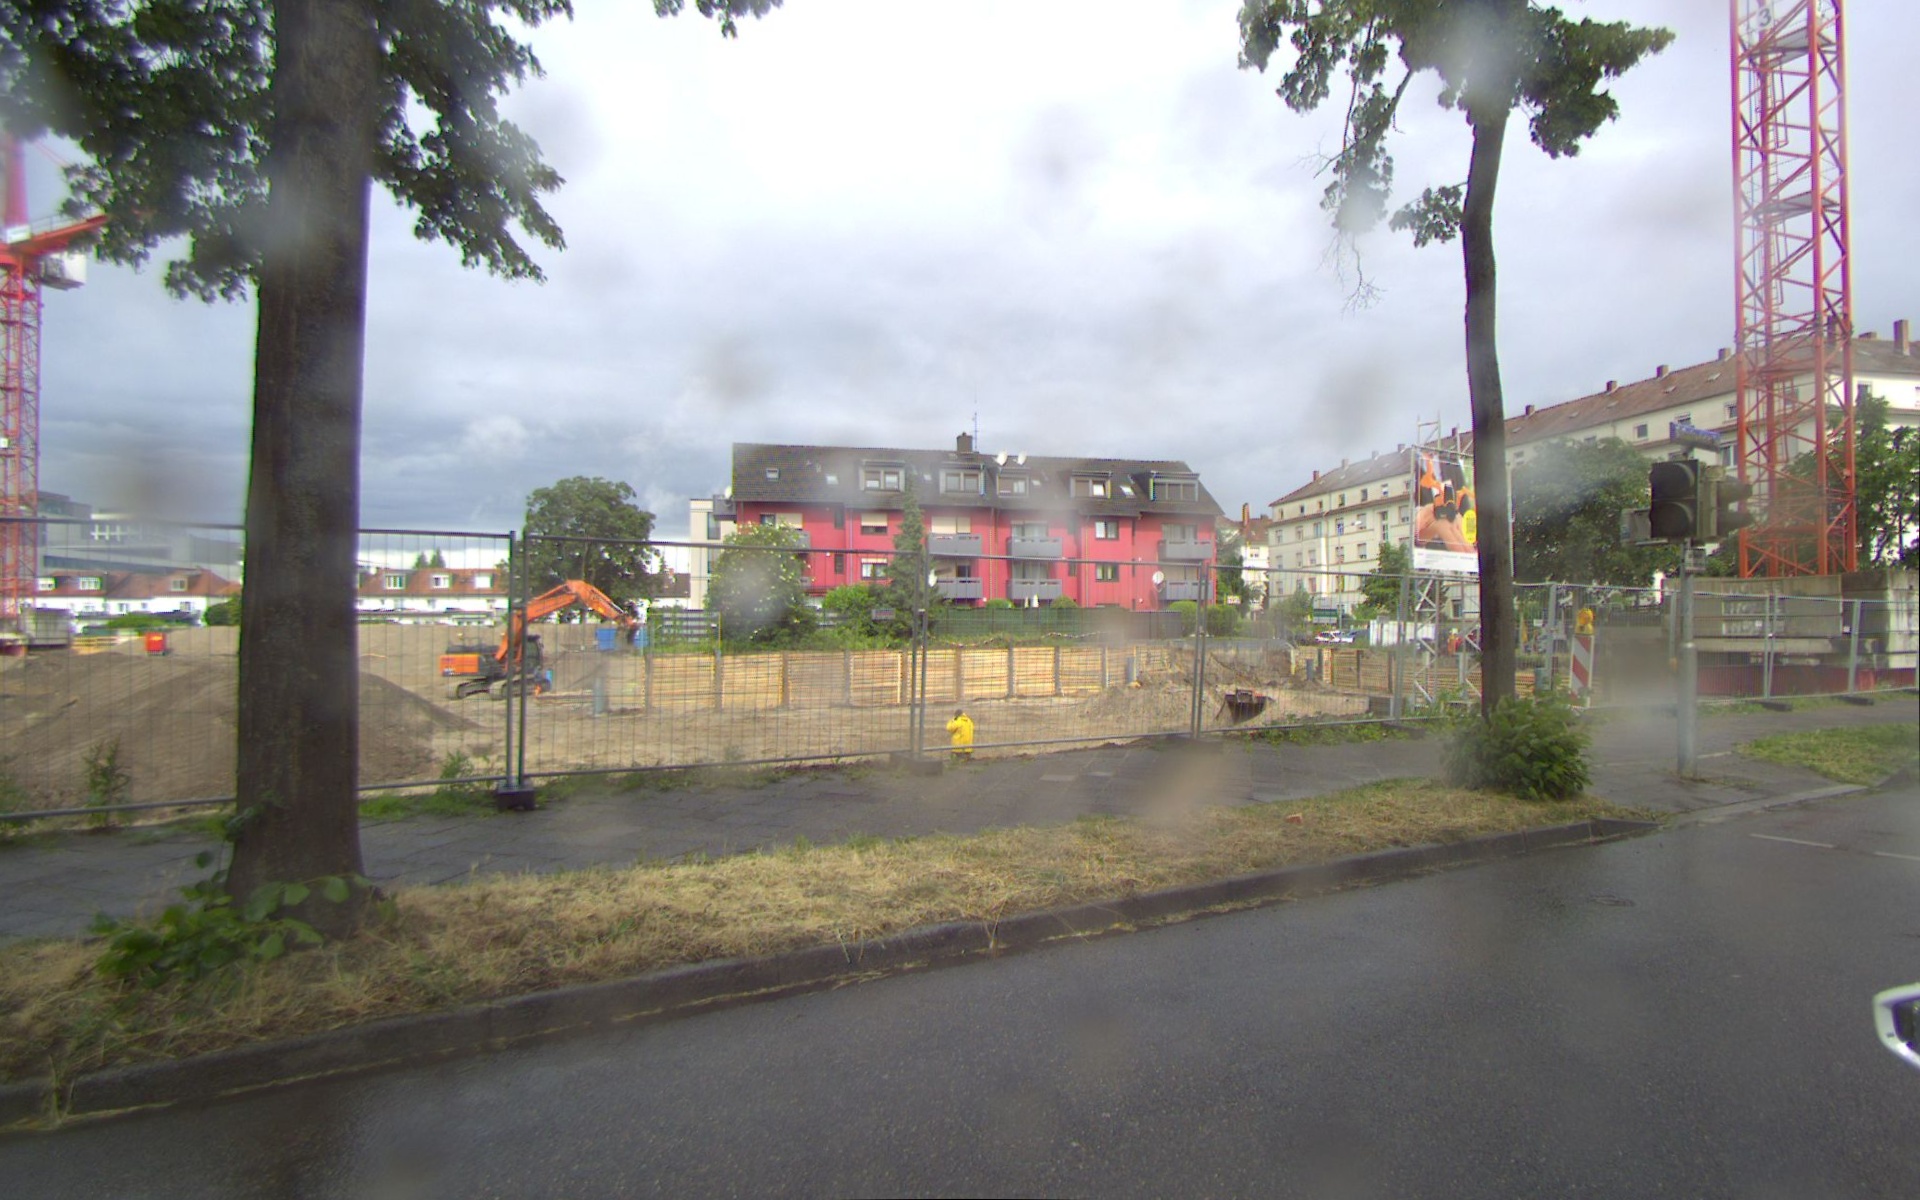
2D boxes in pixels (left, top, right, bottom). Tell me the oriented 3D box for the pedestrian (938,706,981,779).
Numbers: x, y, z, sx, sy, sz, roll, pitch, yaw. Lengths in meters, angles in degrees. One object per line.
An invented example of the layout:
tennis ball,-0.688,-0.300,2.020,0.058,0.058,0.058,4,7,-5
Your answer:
pedestrian,-0.015,3.442,24.379,0.837,1.706,0.585,1,-4,-25

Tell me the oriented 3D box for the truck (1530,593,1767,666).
truck,33.440,1.503,49.559,3.724,3.226,9.828,0,-2,-11
